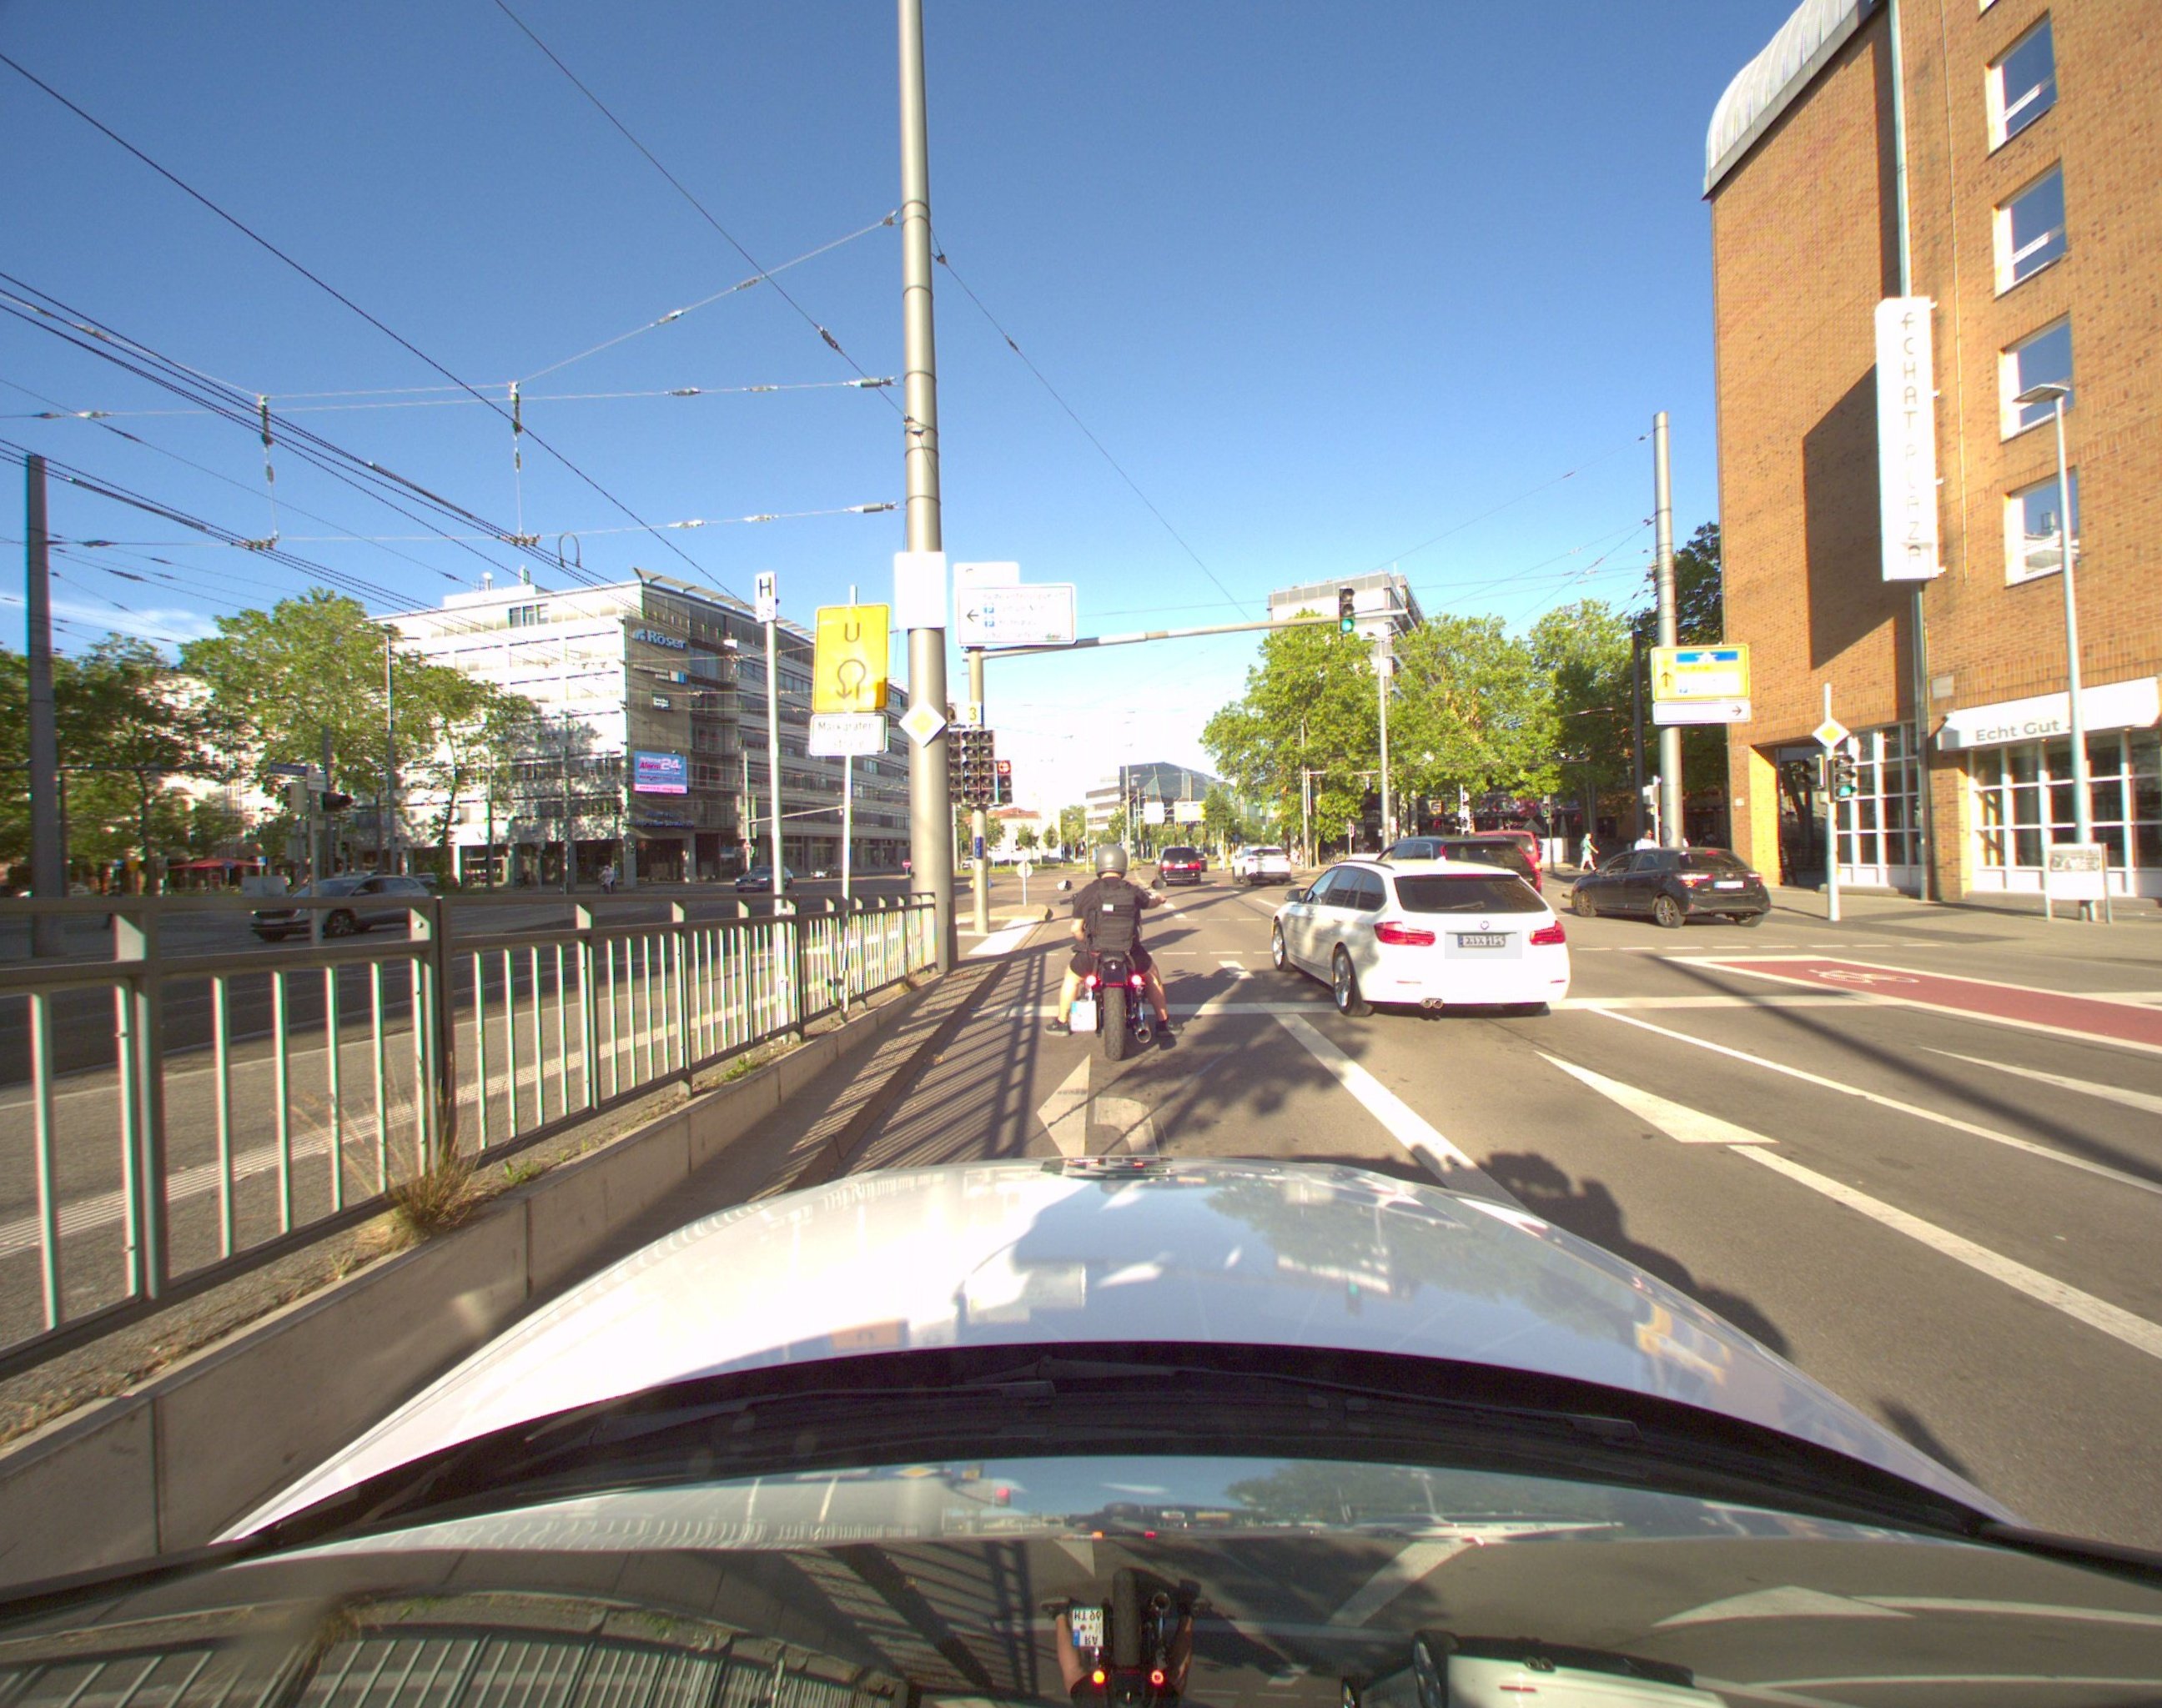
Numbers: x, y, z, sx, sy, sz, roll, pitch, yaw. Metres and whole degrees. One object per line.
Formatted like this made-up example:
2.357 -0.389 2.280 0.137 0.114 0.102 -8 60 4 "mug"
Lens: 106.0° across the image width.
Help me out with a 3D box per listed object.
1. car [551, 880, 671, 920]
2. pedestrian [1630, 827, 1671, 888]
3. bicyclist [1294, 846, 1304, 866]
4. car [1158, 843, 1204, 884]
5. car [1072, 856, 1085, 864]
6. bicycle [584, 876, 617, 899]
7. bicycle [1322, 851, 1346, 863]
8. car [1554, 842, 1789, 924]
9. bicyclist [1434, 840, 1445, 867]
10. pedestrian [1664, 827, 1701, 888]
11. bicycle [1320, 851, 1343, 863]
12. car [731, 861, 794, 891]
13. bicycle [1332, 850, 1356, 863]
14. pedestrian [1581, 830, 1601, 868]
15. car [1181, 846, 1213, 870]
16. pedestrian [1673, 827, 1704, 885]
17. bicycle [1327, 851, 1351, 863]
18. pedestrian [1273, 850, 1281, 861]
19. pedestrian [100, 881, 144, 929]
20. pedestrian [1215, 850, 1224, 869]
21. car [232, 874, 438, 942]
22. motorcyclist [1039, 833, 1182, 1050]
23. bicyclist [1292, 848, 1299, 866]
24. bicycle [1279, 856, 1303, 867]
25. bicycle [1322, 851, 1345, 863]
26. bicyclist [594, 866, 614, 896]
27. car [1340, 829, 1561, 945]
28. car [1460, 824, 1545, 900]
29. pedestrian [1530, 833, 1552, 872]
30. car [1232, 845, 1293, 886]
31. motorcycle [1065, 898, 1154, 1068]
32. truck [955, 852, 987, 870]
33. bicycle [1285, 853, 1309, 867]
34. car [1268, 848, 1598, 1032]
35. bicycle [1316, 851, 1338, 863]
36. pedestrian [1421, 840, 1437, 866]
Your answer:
-13.829 1.343 24.110 2.884 1.063 1.235 0 -1 -19 "car"
17.217 0.106 24.619 0.591 1.780 0.681 -5 -2 -1 "pedestrian"
17.691 0.165 65.976 0.682 1.673 0.544 -2 -1 21 "bicyclist"
4.302 0.430 35.547 1.795 1.678 4.046 0 -1 5 "car"
-0.476 1.102 147.367 1.815 1.430 4.539 -2 0 7 "car"
-24.308 1.660 41.238 0.458 1.090 1.815 -3 -1 2 "bicycle"
21.495 0.270 69.191 1.874 1.046 0.360 0 -1 1 "bicycle"
11.701 0.548 16.532 1.727 1.450 4.037 0 -1 -2 "car"
25.155 -0.034 57.170 0.582 1.837 0.403 0 -1 1 "bicyclist"
17.971 0.101 24.355 0.588 1.780 0.684 -3 -1 13 "pedestrian"
21.597 0.262 70.176 1.874 1.046 0.360 0 0 1 "bicycle"
-18.184 1.246 46.724 1.820 1.568 4.690 -2 -1 -2 "car"
21.430 0.201 66.406 1.874 1.046 0.360 0 -1 1 "bicycle"
22.849 -0.212 36.495 0.634 1.700 0.727 -1 -1 21 "pedestrian"
8.419 0.279 59.258 1.797 1.678 4.041 0 -1 1 "car"
19.091 0.064 25.599 0.727 1.792 0.515 -1 -1 42 "pedestrian"
21.542 0.244 68.002 1.874 1.046 0.360 0 -1 1 "bicycle"
22.056 0.170 91.552 0.814 1.314 0.640 -1 -1 11 "pedestrian"
-34.370 1.825 29.196 0.587 1.691 0.795 0 -1 2 "pedestrian"
11.802 0.455 69.381 0.587 1.557 0.488 0 -1 -6 "pedestrian"
-20.275 1.398 22.421 1.821 1.568 4.237 -2 -1 -2 "car"
0.235 0.652 6.523 1.027 1.593 0.874 -2 0 1 "motorcyclist"
17.144 0.243 65.097 0.377 1.373 0.347 -1 -1 35 "bicyclist"
16.840 0.608 65.313 1.808 0.925 0.360 -1 -1 36 "bicycle"
21.582 0.263 69.676 1.874 1.046 0.360 0 0 1 "bicycle"
-24.215 1.366 41.349 0.584 1.534 0.650 0 -1 2 "bicyclist"
6.339 0.524 14.642 1.727 1.732 4.607 0 -1 -2 "car"
12.482 0.234 24.374 1.787 2.009 4.497 -3 -1 22 "car"
22.663 -0.080 40.125 0.783 1.898 0.821 -1 -1 21 "pedestrian"
7.394 0.430 33.521 1.725 1.598 4.043 0 0 2 "car"
0.232 0.945 6.707 0.598 1.036 2.235 0 0 2 "motorcycle"
-13.055 0.837 97.176 1.980 1.879 5.172 -4 -1 12 "truck"
17.520 0.486 66.035 1.854 1.044 0.540 -1 -1 20 "bicycle"
3.316 0.714 8.716 1.725 1.457 4.419 0 -1 2 "car"
21.555 0.267 71.328 1.874 1.046 0.360 0 0 1 "bicycle"
20.391 -0.051 47.731 0.567 1.532 0.698 0 -1 -17 "pedestrian"
